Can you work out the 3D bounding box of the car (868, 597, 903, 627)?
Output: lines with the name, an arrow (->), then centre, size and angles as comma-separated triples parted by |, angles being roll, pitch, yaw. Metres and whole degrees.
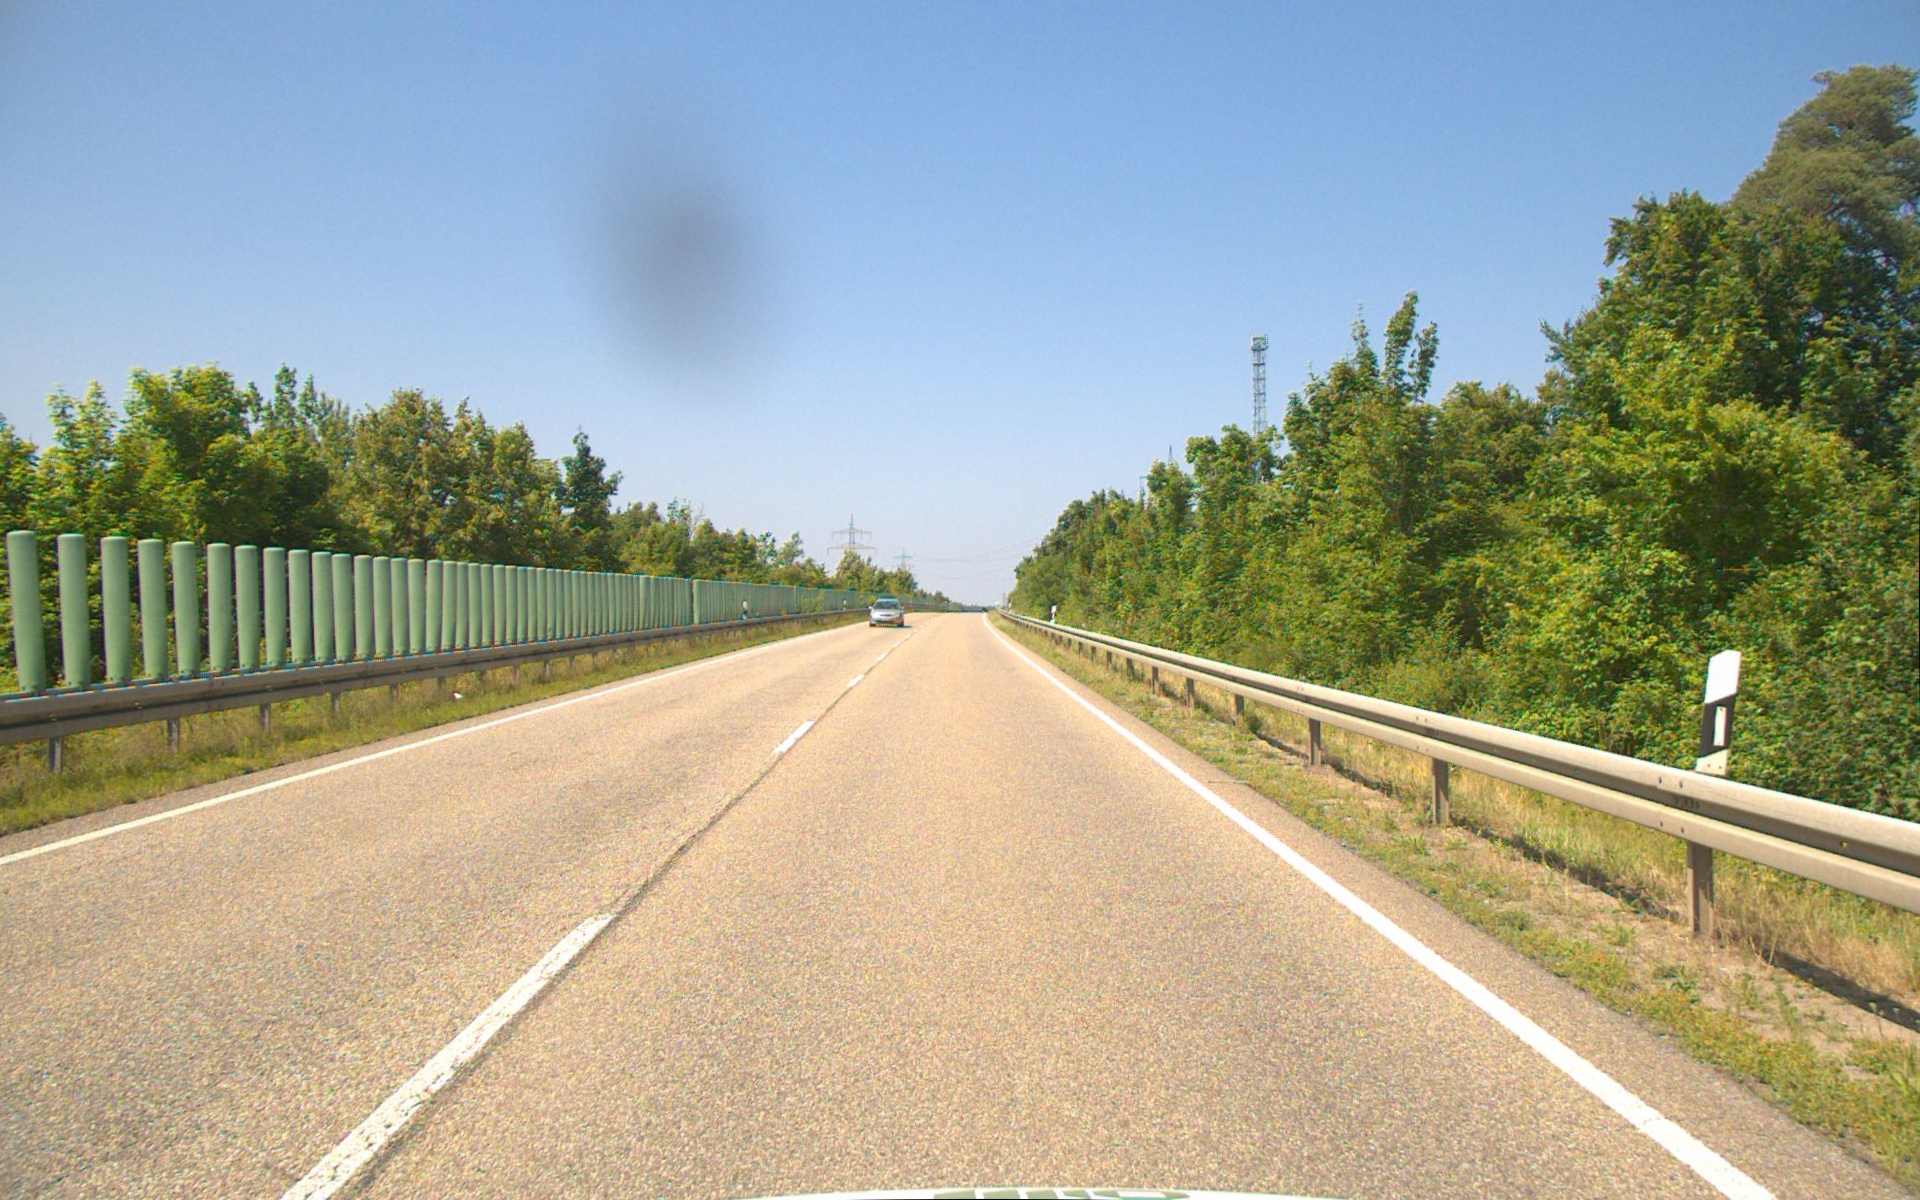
car -> -3.960, 0.631, 88.129 | 1.685, 1.527, 4.247 | 1, 0, -1
